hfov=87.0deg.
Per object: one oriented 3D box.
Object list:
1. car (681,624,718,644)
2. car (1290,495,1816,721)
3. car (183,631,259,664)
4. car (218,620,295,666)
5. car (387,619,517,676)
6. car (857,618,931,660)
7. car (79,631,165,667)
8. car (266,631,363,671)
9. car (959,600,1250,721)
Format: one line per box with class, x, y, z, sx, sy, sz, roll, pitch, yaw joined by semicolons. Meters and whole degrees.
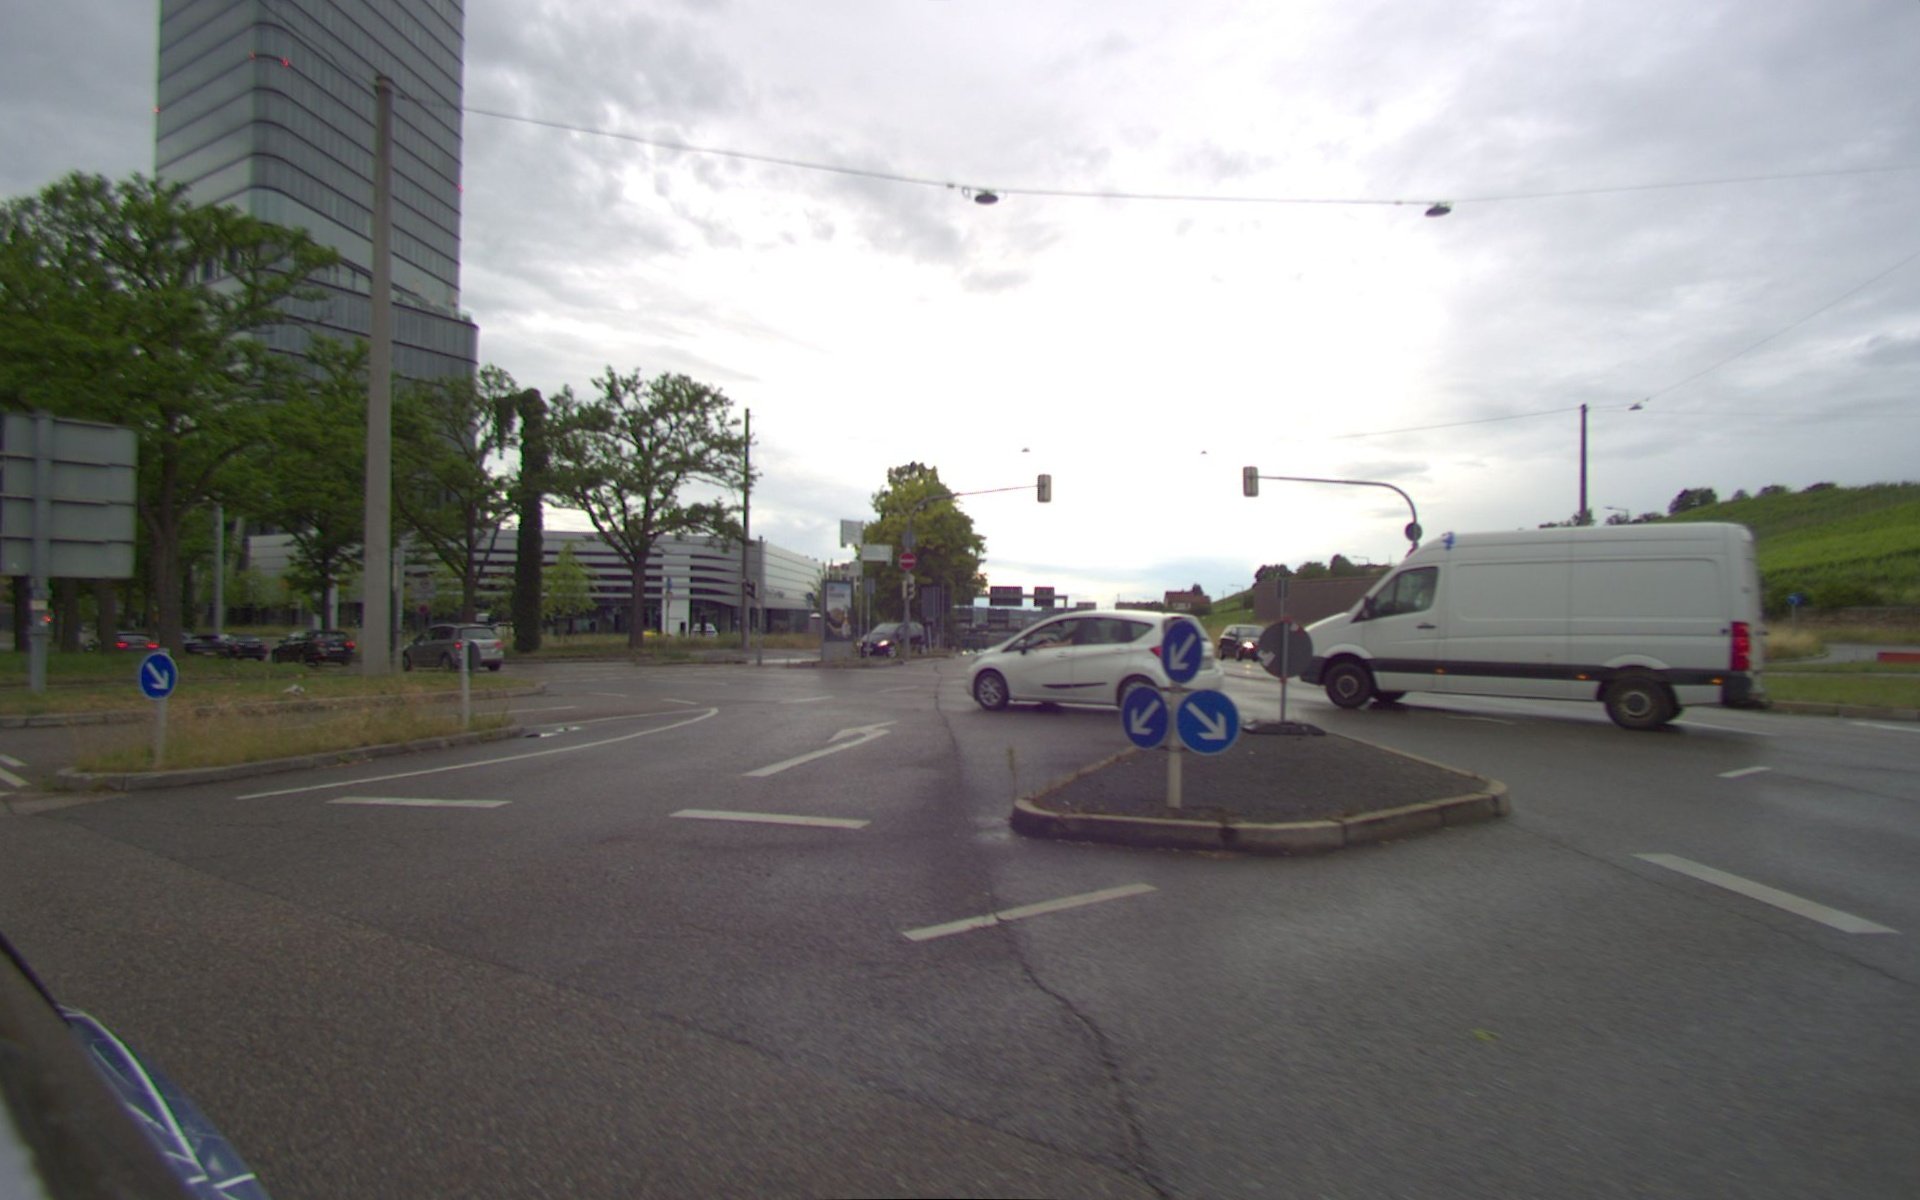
car;-19.070;2.469;74.030;1.592;1.254;4.012;-1;1;-29
car;8.082;0.131;14.381;6.170;2.578;1.971;0;-3;43
car;-34.203;2.153;46.818;3.997;1.397;1.973;-1;-1;41
car;-36.688;2.287;52.775;4.557;1.636;1.813;-11;-14;35
car;-16.759;1.526;33.346;4.185;1.587;1.977;-1;3;35
car;-2.906;1.717;45.474;1.984;1.674;3.976;-1;1;19
car;-37.396;2.179;45.120;4.884;1.500;1.883;-2;-2;37
car;-25.997;2.030;40.690;4.660;1.484;1.807;-2;-2;37
car;2.053;0.803;15.062;3.998;1.524;1.732;-1;1;41
